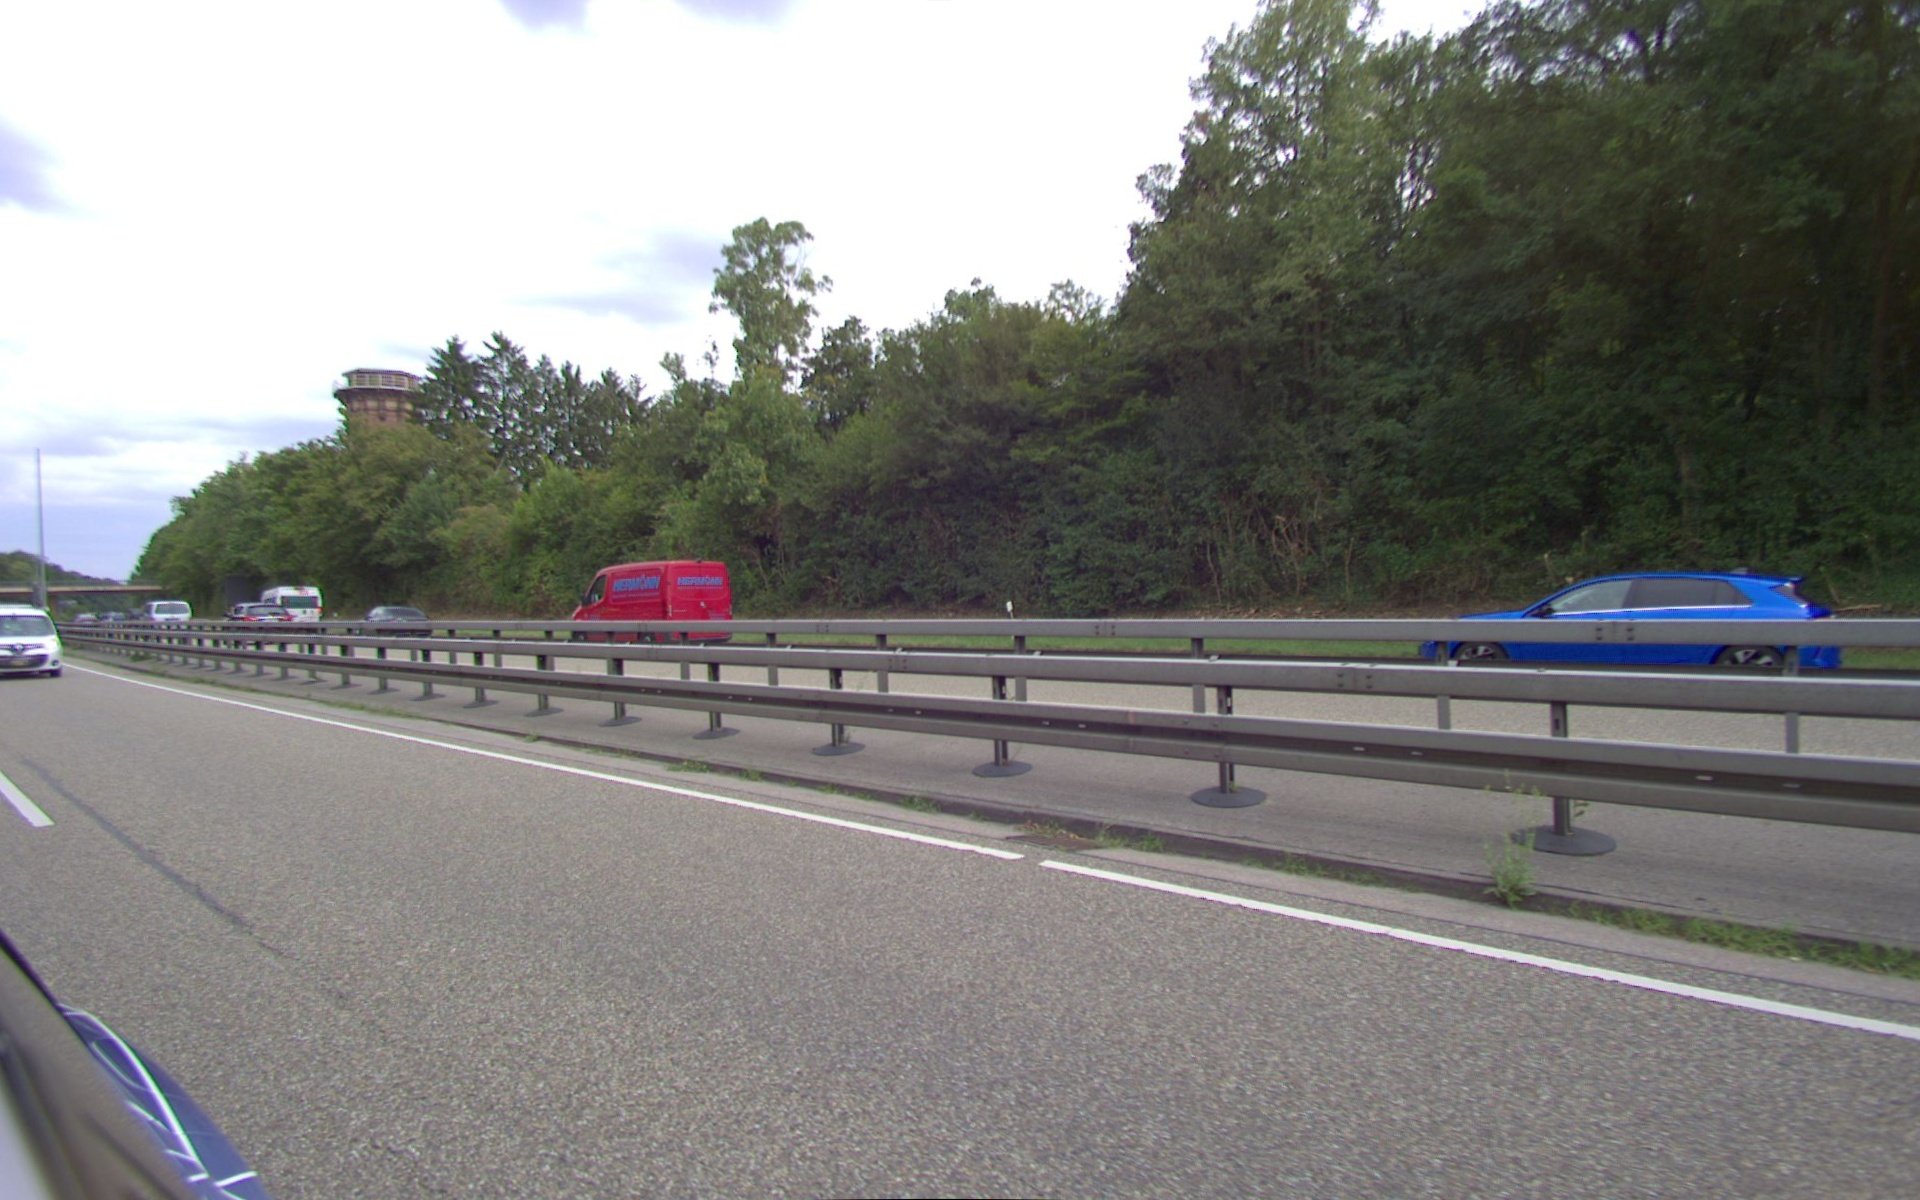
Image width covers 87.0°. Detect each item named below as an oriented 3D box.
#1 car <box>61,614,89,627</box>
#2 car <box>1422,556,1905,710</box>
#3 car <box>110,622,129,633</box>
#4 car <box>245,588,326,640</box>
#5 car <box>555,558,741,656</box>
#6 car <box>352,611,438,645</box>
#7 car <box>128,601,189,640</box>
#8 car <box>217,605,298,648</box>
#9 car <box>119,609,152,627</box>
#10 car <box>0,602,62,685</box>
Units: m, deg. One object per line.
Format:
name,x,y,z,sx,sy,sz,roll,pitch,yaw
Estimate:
car,-86.459,2.012,98.834,4.714,1.288,1.636,-1,-1,44
car,8.264,0.357,12.227,4.503,1.521,1.973,-1,-1,41
car,-123.772,4.028,149.087,4.059,1.461,1.791,-1,-1,45
car,-35.836,0.749,53.733,5.552,2.631,2.287,-1,-1,42
car,-8.099,0.207,25.956,5.372,2.273,2.045,-1,-1,41
car,-22.584,1.094,40.391,4.106,1.306,1.756,-1,-1,42
car,-43.104,1.075,54.386,5.057,1.998,1.802,-1,-1,42
car,-27.581,1.014,39.693,4.013,1.575,1.763,-1,-1,42
car,-83.509,1.797,102.511,5.125,1.817,2.012,-1,-1,44
car,-24.750,1.083,26.257,4.424,2.020,1.797,-1,-1,43
